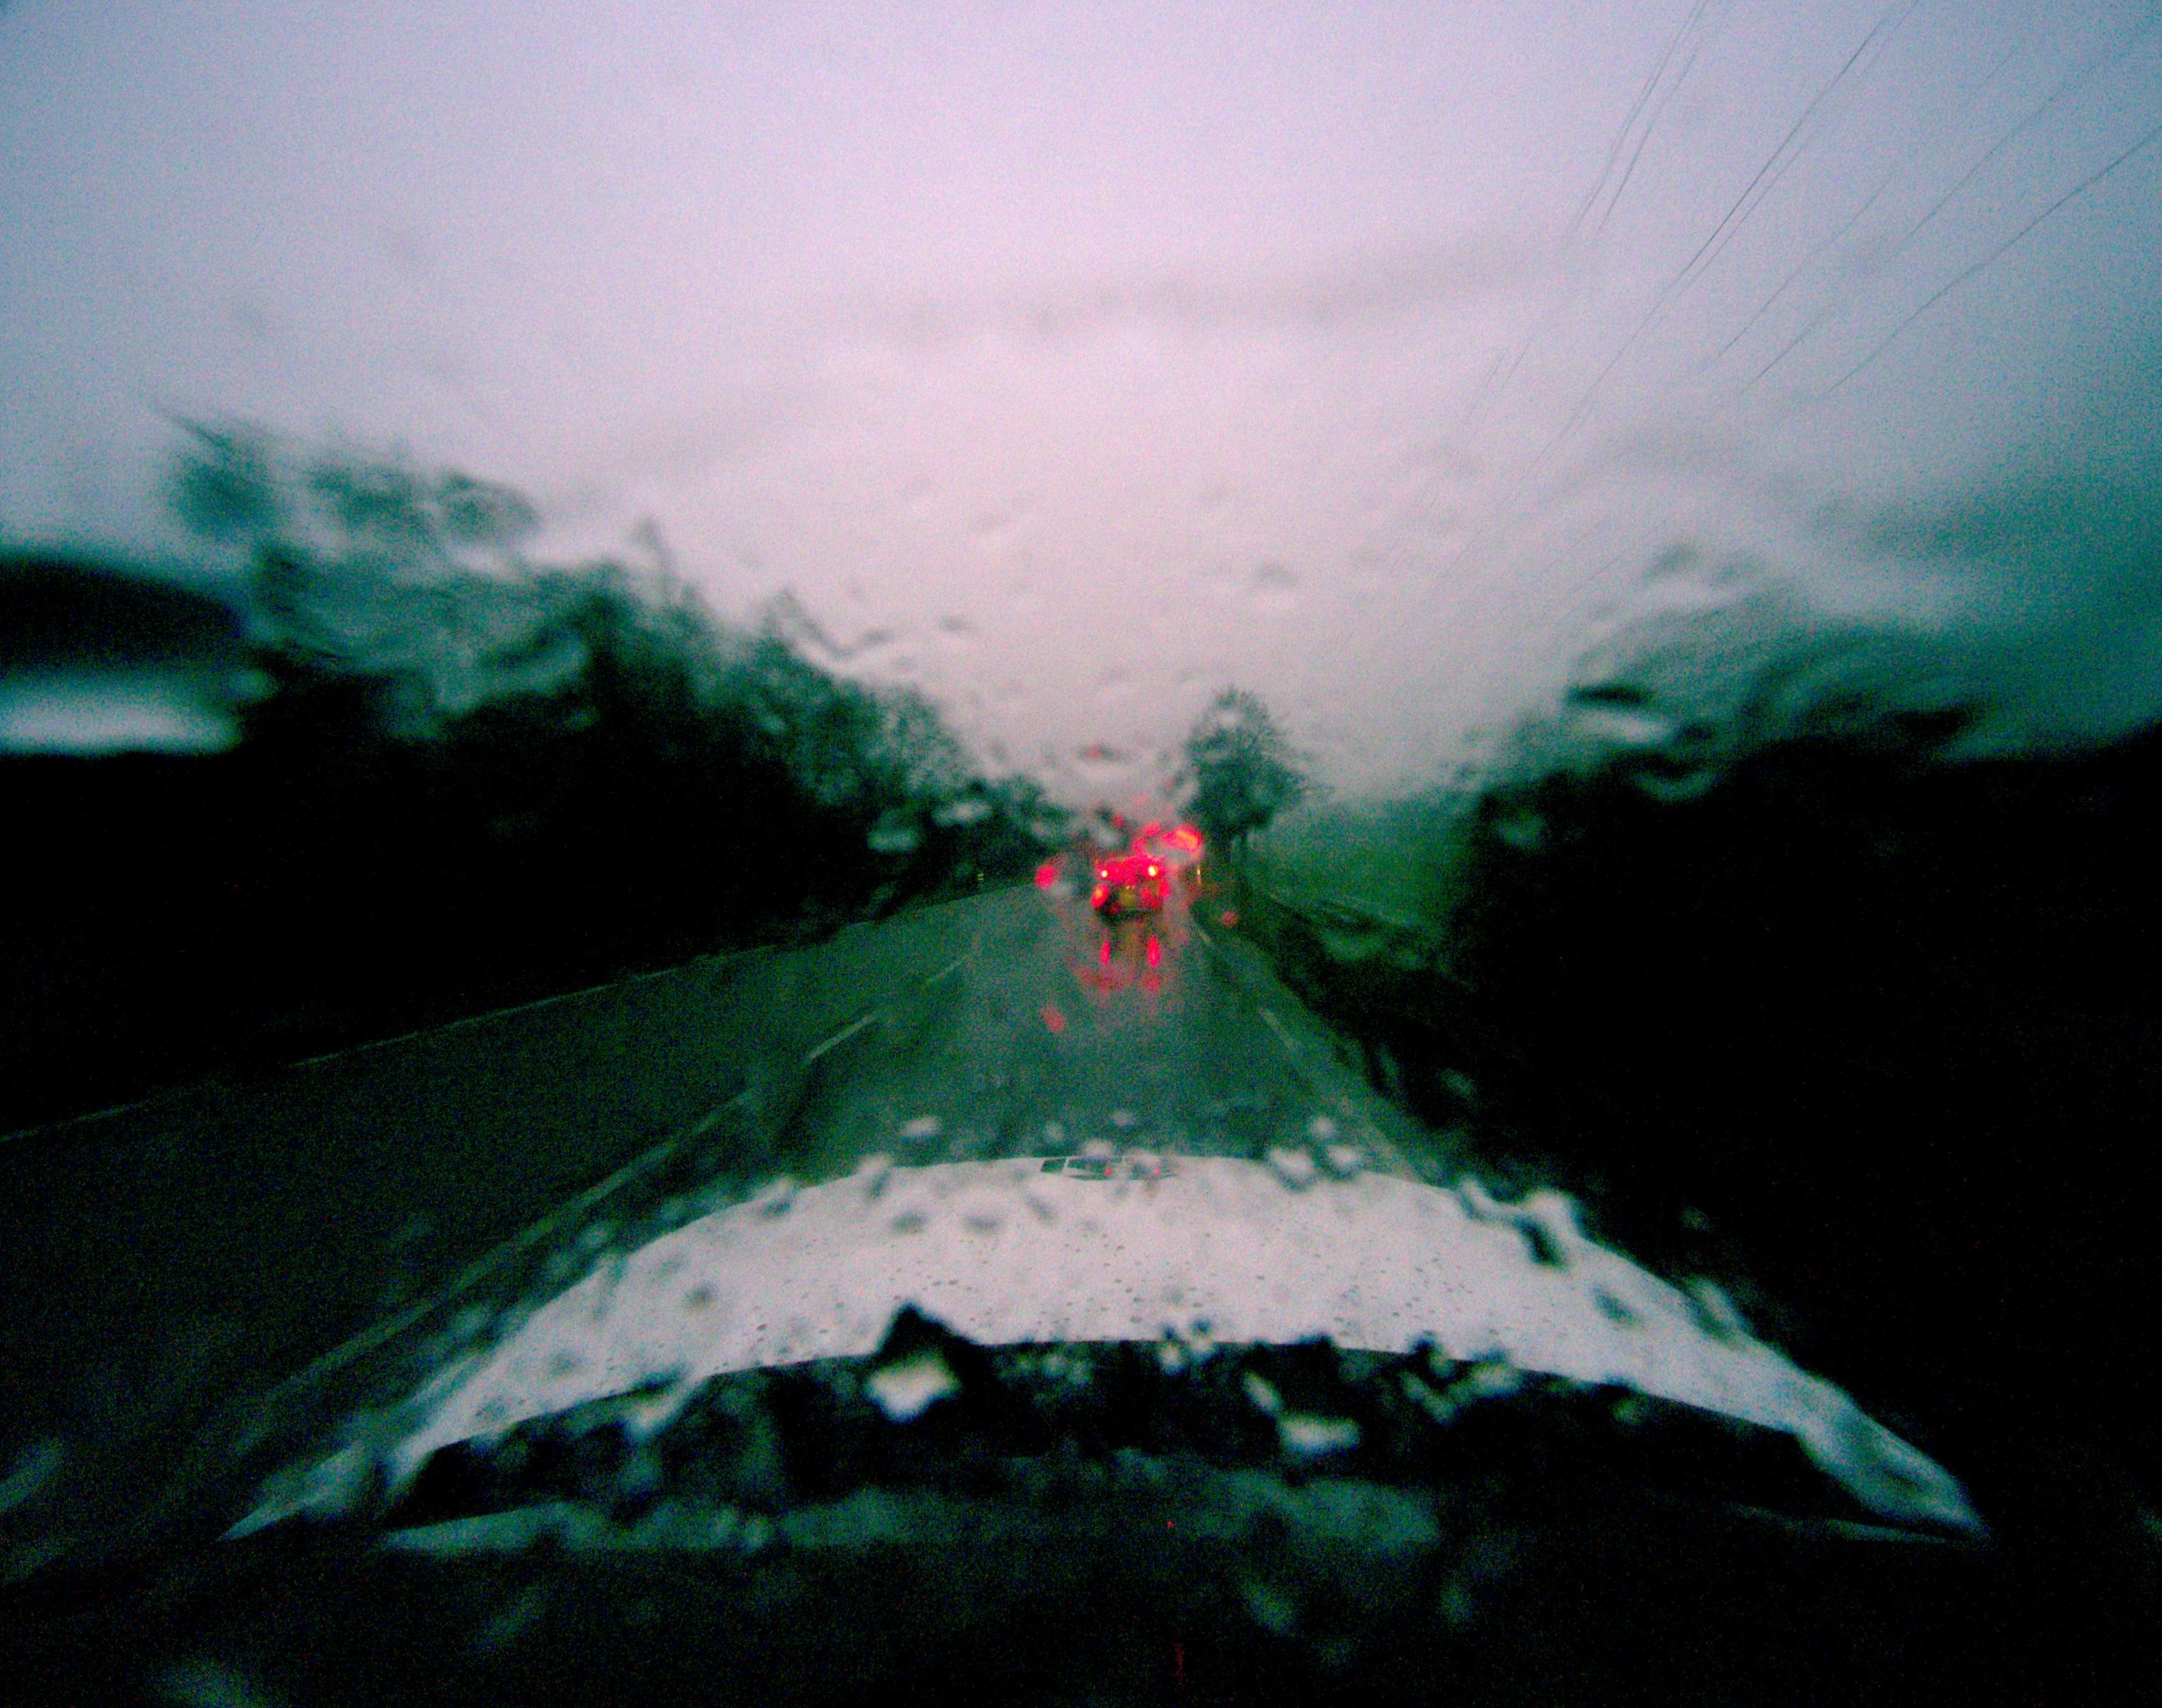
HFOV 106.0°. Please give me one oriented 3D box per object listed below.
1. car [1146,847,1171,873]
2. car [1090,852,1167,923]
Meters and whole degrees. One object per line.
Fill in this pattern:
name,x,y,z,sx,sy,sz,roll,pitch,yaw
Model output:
car,6.850,0.591,72.326,1.937,2.013,4.005,-7,-2,4
car,1.157,0.802,21.441,1.724,1.532,4.042,-5,0,0
